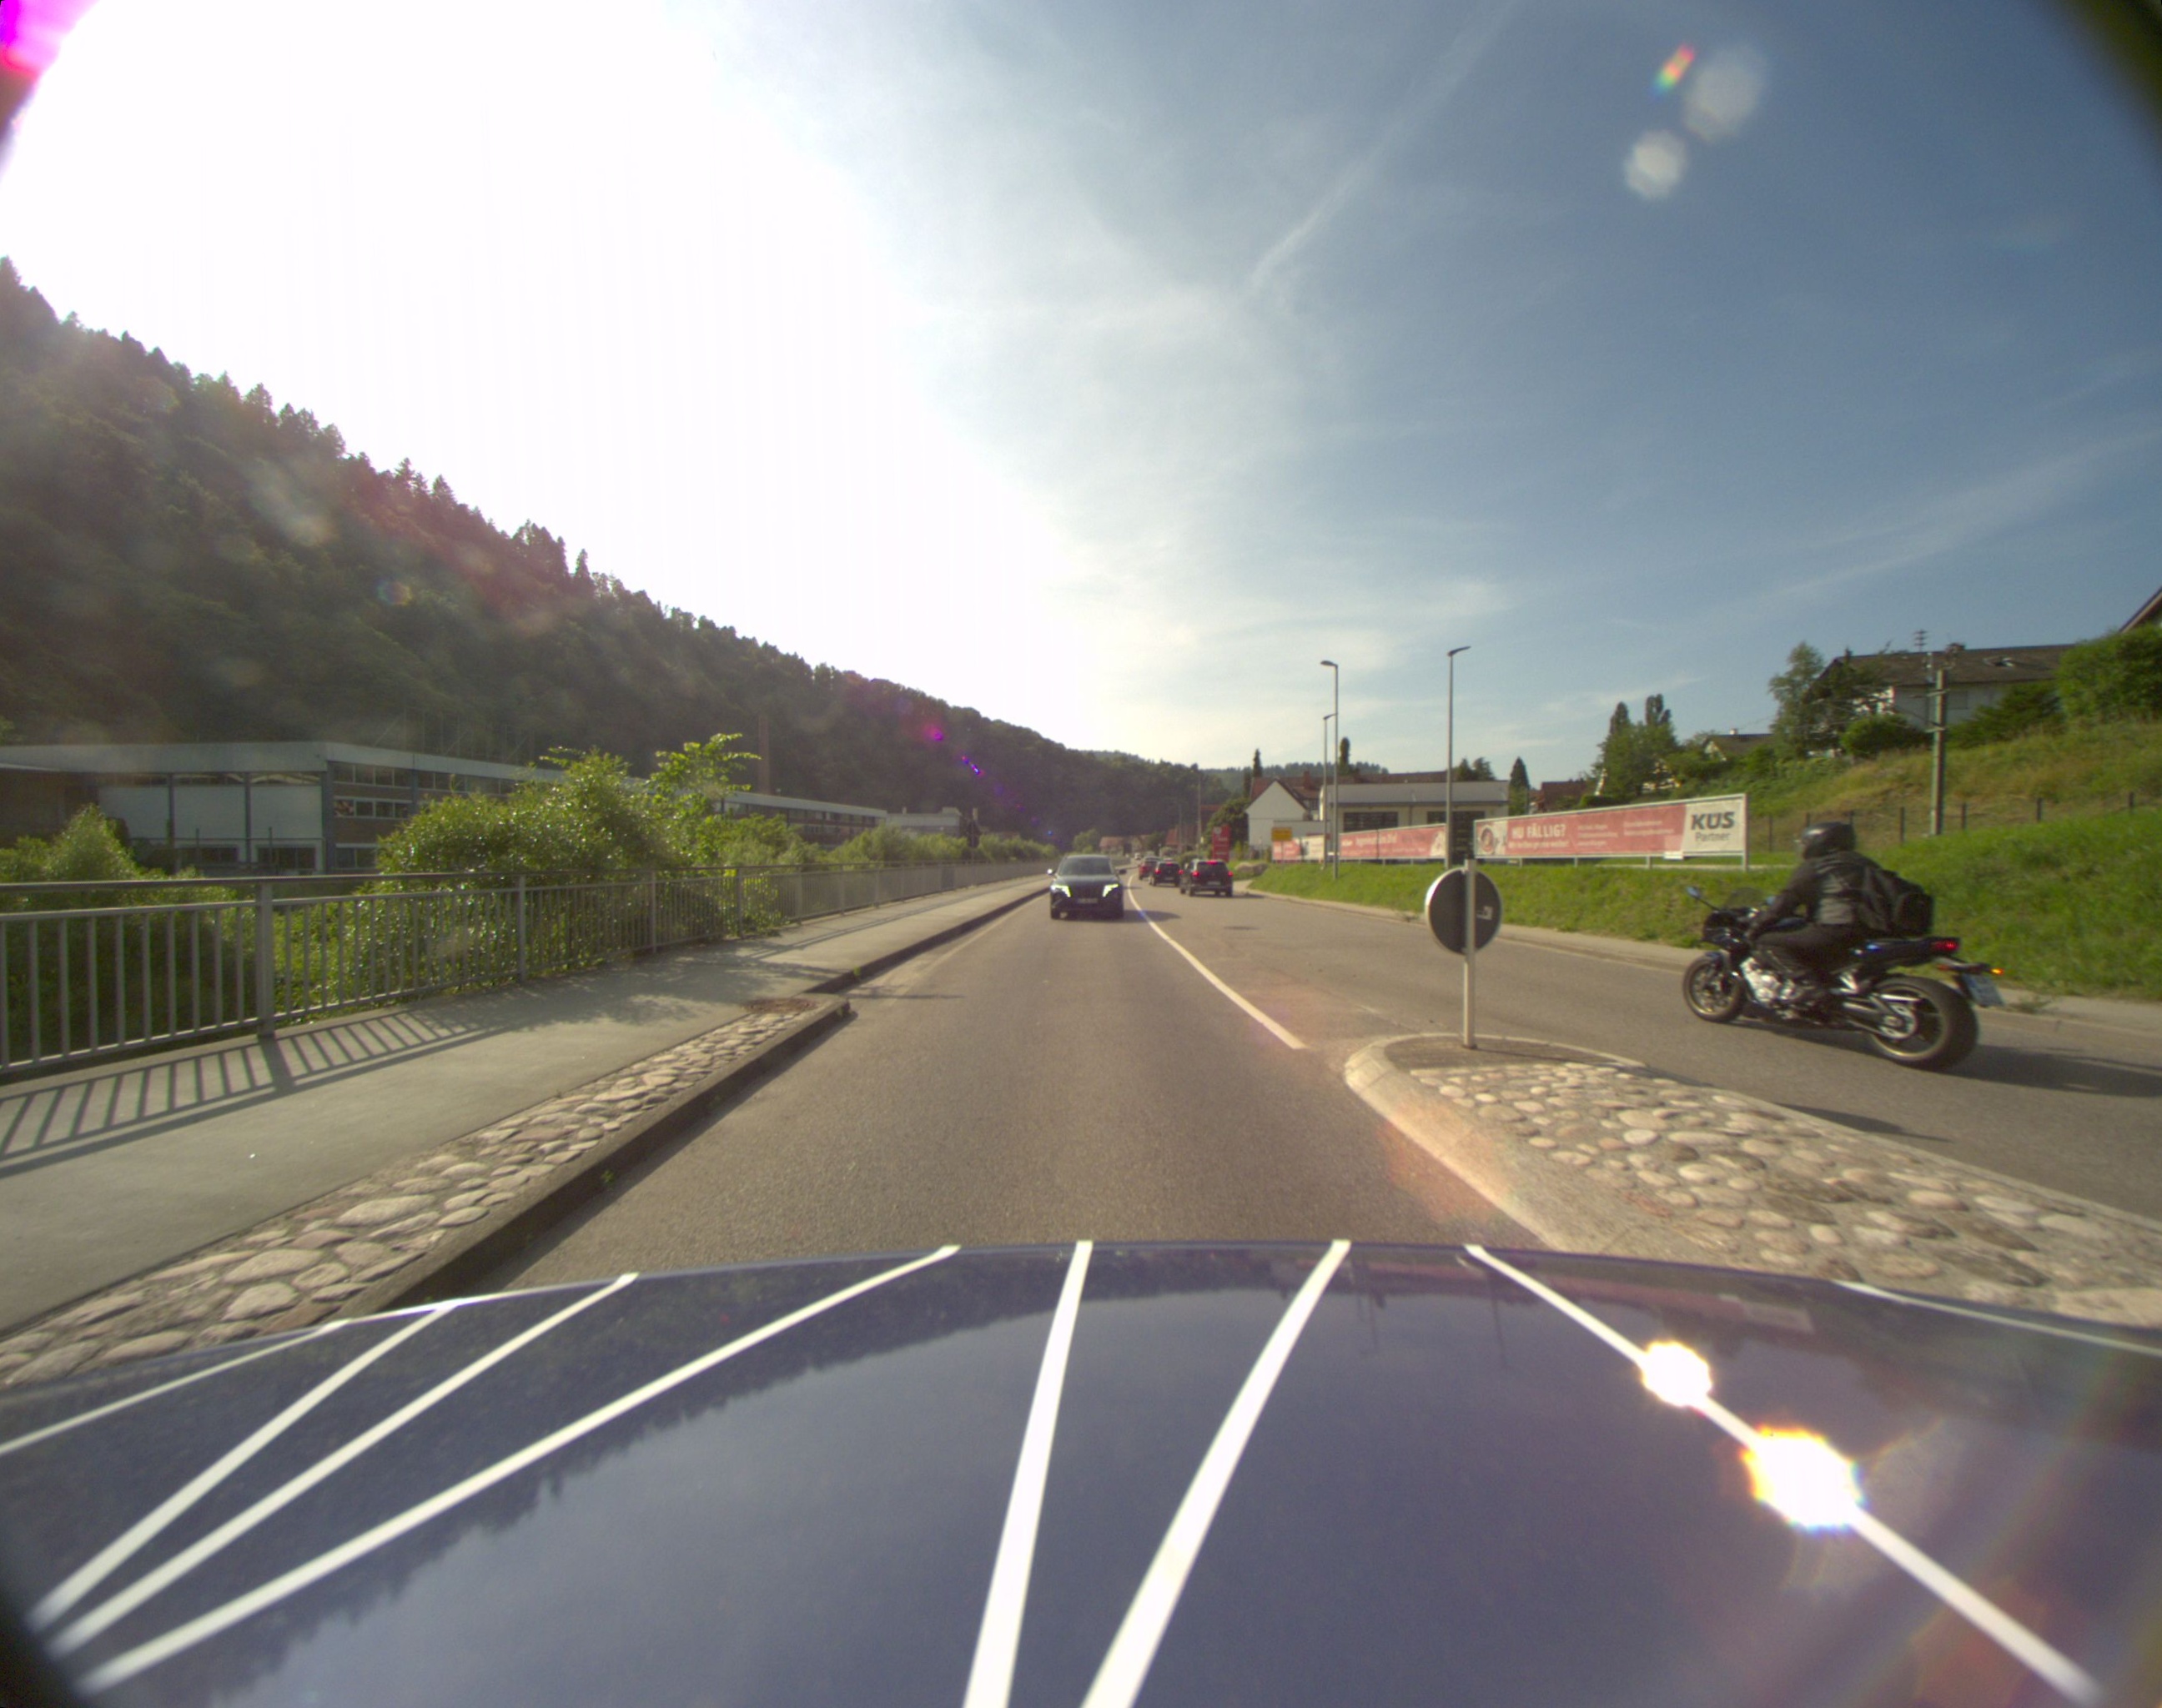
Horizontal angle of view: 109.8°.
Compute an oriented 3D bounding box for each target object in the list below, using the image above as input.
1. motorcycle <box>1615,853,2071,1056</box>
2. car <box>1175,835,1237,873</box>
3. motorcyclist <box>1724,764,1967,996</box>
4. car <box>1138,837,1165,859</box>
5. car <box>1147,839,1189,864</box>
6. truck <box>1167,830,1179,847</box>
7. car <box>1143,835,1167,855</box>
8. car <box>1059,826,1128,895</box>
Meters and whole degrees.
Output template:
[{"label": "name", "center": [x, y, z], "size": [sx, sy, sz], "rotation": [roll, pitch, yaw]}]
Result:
[{"label": "motorcycle", "center": [5.371, 0.590, 5.676], "size": [0.897, 1.177, 2.303], "rotation": [0, 1, -9]}, {"label": "car", "center": [5.241, 0.009, 32.379], "size": [1.780, 1.507, 4.271], "rotation": [0, 0, -2]}, {"label": "motorcyclist", "center": [5.396, 0.170, 5.418], "size": [0.908, 1.510, 0.846], "rotation": [0, 0, -9]}, {"label": "car", "center": [5.300, -0.461, 57.858], "size": [1.710, 1.574, 4.159], "rotation": [-2, 0, 1]}, {"label": "car", "center": [5.011, -0.177, 44.312], "size": [1.780, 1.399, 4.270], "rotation": [0, 1, -2]}, {"label": "truck", "center": [21.518, -3.550, 177.346], "size": [2.583, 3.909, 11.309], "rotation": [1, 1, 6]}, {"label": "car", "center": [7.149, -0.878, 74.059], "size": [1.901, 1.876, 5.295], "rotation": [-1, 1, 1]}, {"label": "car", "center": [0.292, 0.118, 20.419], "size": [1.649, 1.639, 3.999], "rotation": [-1, 1, 0]}]
